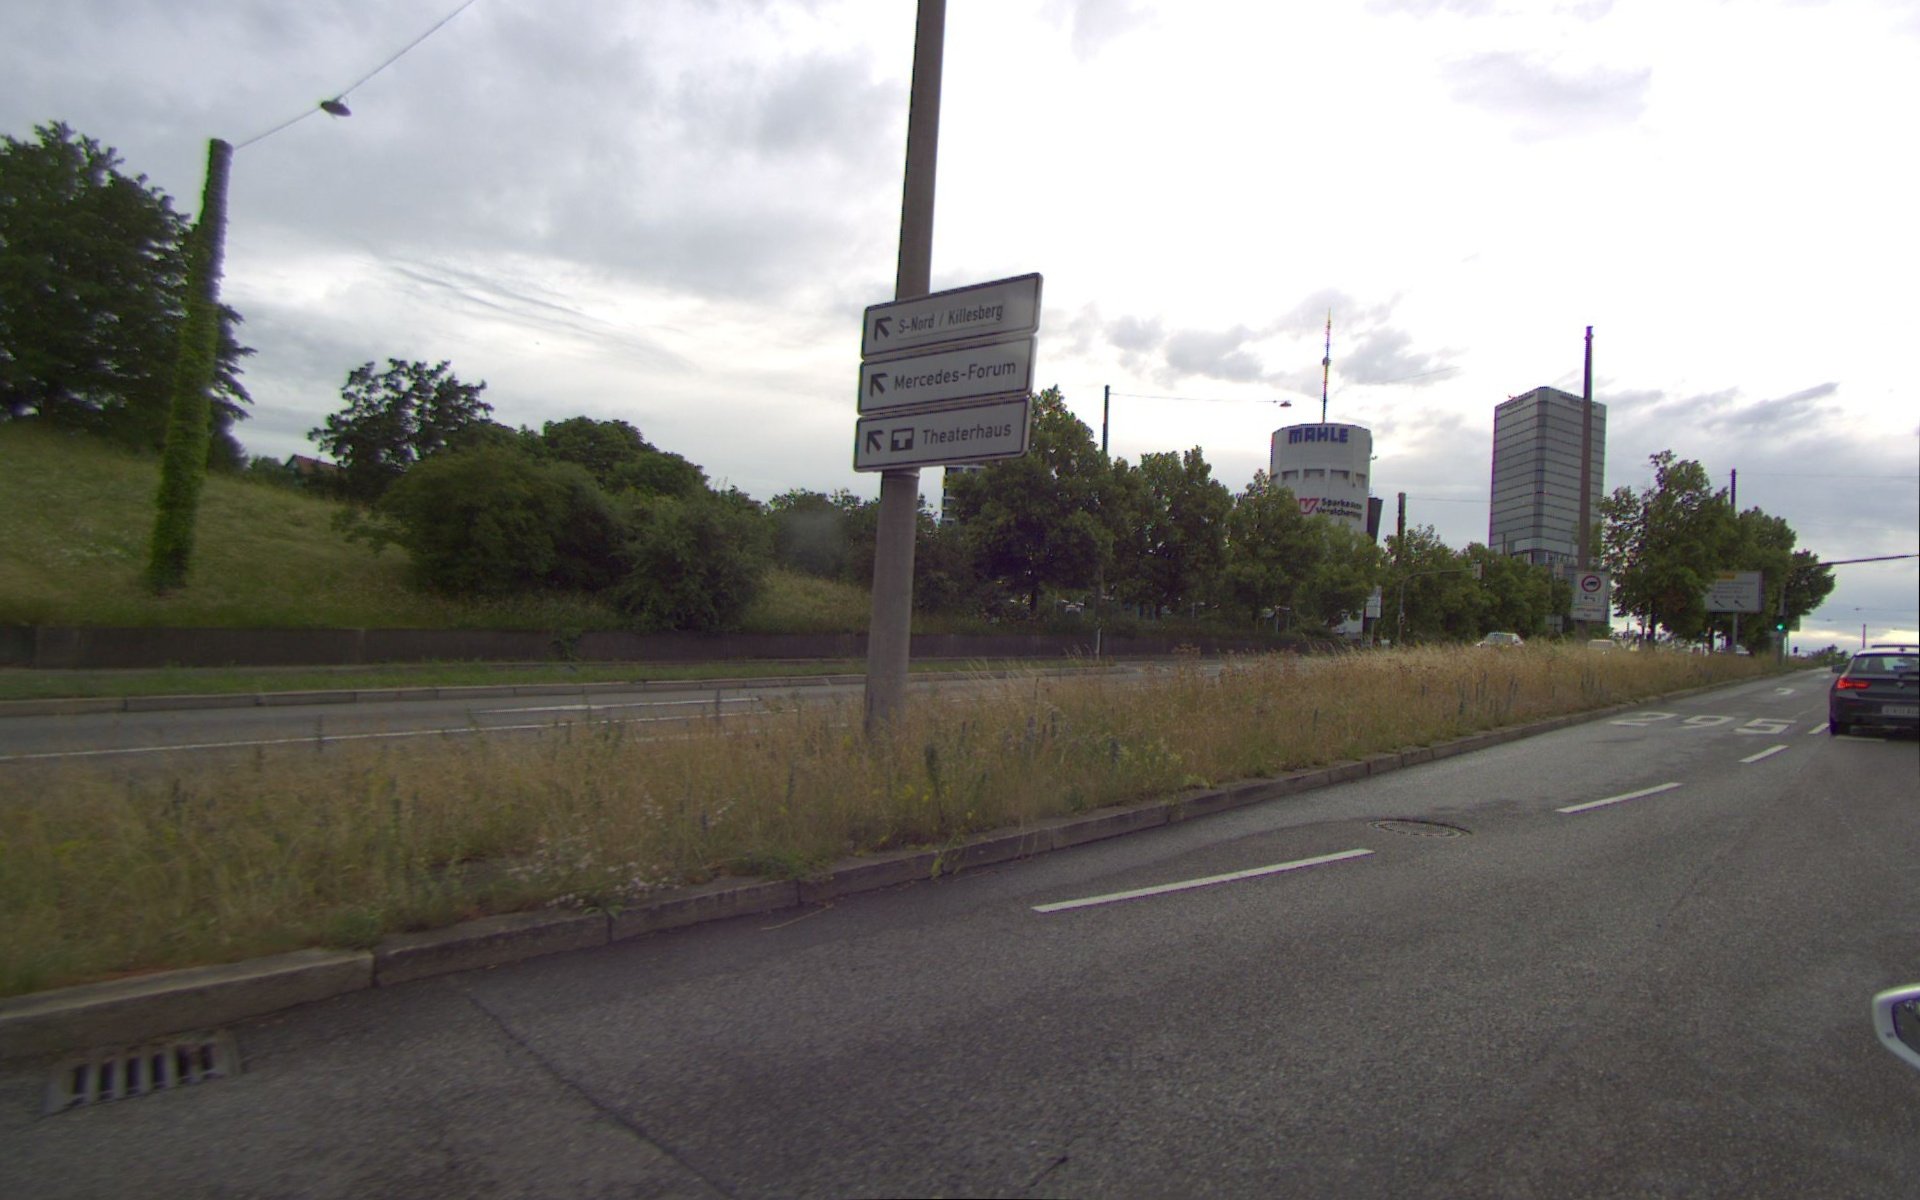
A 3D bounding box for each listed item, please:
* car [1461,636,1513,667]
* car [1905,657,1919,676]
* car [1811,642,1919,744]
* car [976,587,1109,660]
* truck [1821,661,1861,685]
[{"bbox_3d":[30.834,2.969,58.695,1.839,1.641,3.981,2,-1,40],"label":"car"},{"bbox_3d":[83.126,5.817,86.933,3.680,1.562,1.705,3,0,-45],"label":"car"},{"bbox_3d":[15.647,1.508,16.690,3.949,1.480,1.851,3,-1,-43],"label":"car"},{"bbox_3d":[2.523,0.757,30.019,1.971,2.040,3.979,-1,-3,42],"label":"car"},{"bbox_3d":[127.992,10.620,145.941,2.625,3.261,6.544,3,-3,26],"label":"truck"}]
